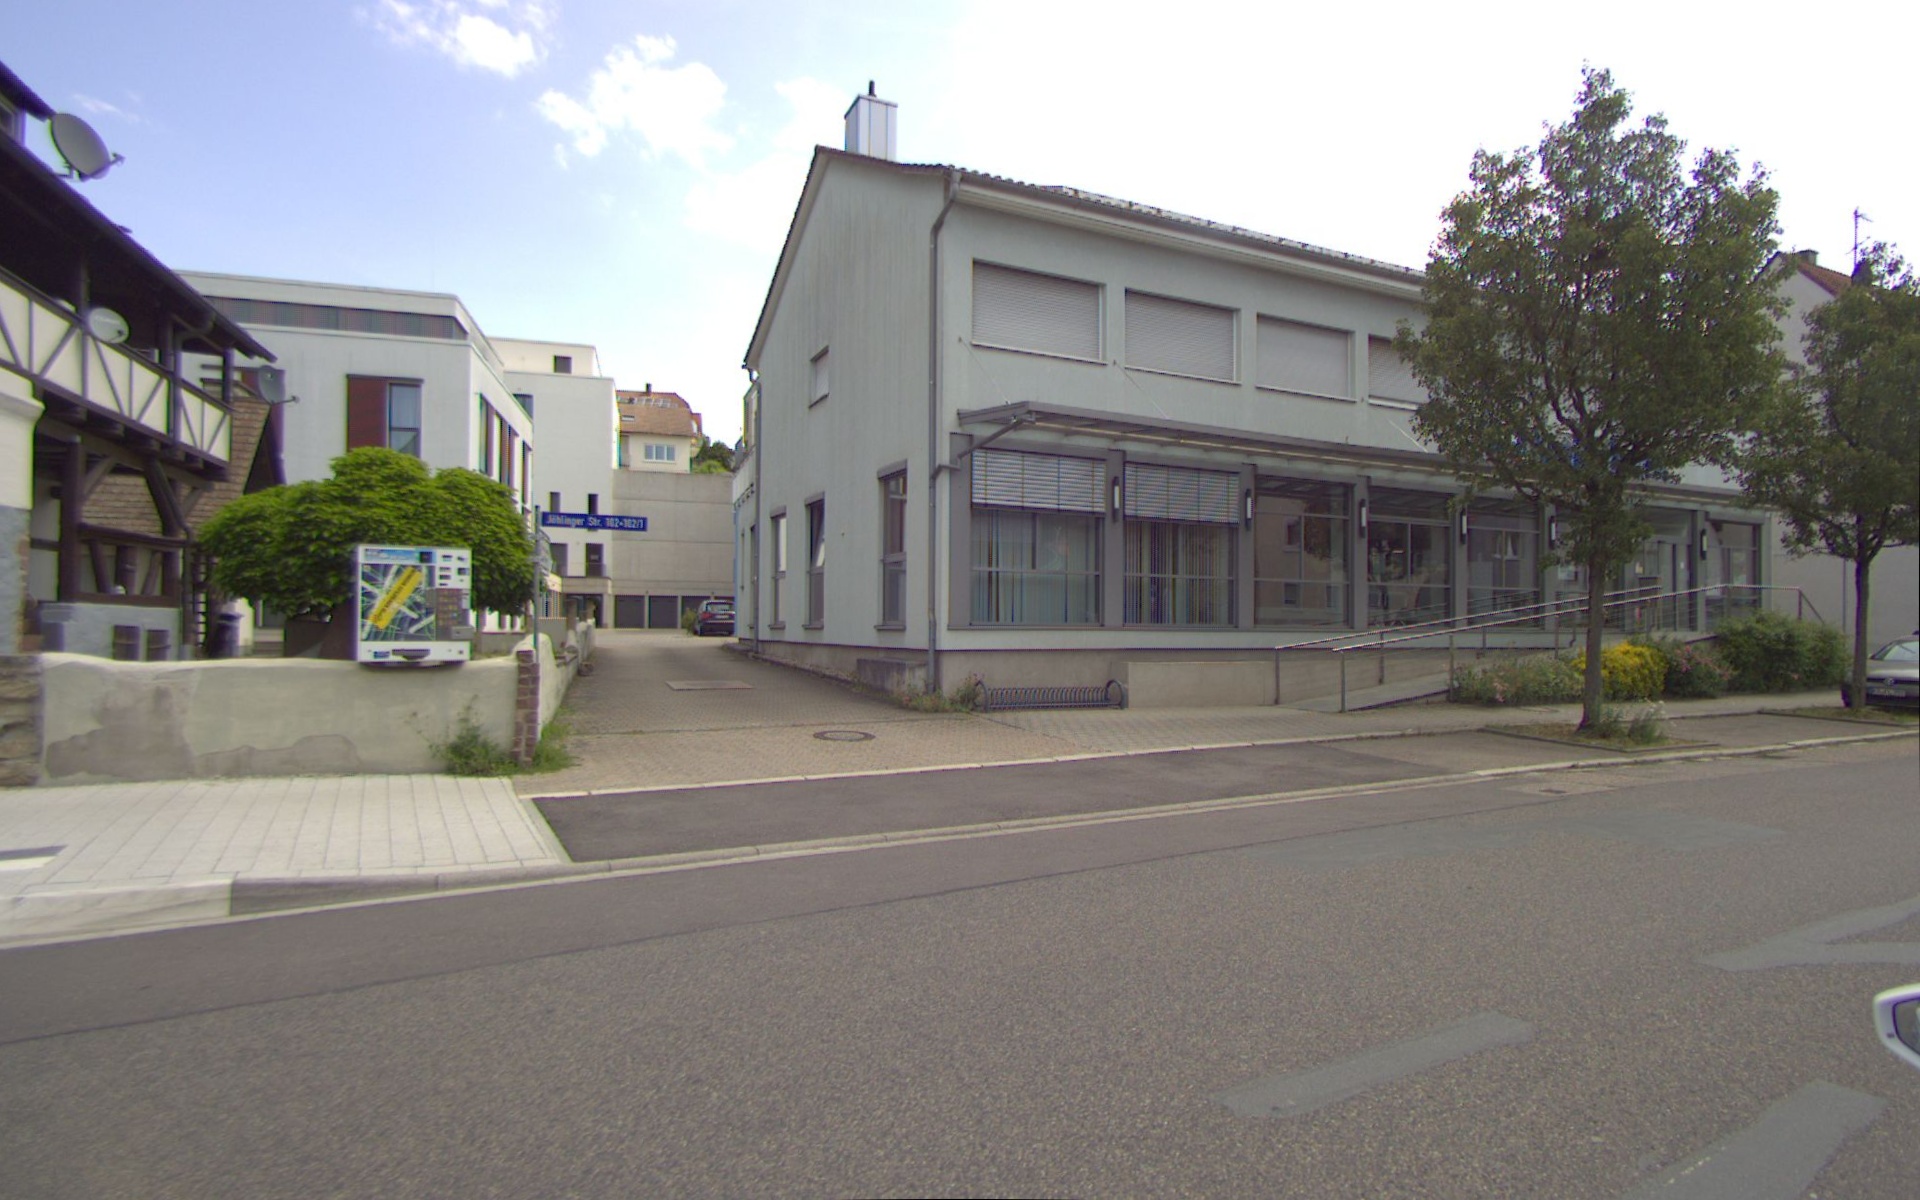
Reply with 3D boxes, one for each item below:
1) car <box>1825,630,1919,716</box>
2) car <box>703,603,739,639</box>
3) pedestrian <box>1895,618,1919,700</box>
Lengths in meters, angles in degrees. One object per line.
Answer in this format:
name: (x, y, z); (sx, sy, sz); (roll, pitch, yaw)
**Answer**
car: (18.435, 1.331, 19.030); (4.106, 1.480, 1.797); (1, -1, -29)
car: (-9.725, 0.831, 40.764); (1.347, 1.375, 3.577); (1, 0, -14)
pedestrian: (21.648, 1.318, 22.589); (0.635, 1.825, 0.735); (2, -3, -30)
